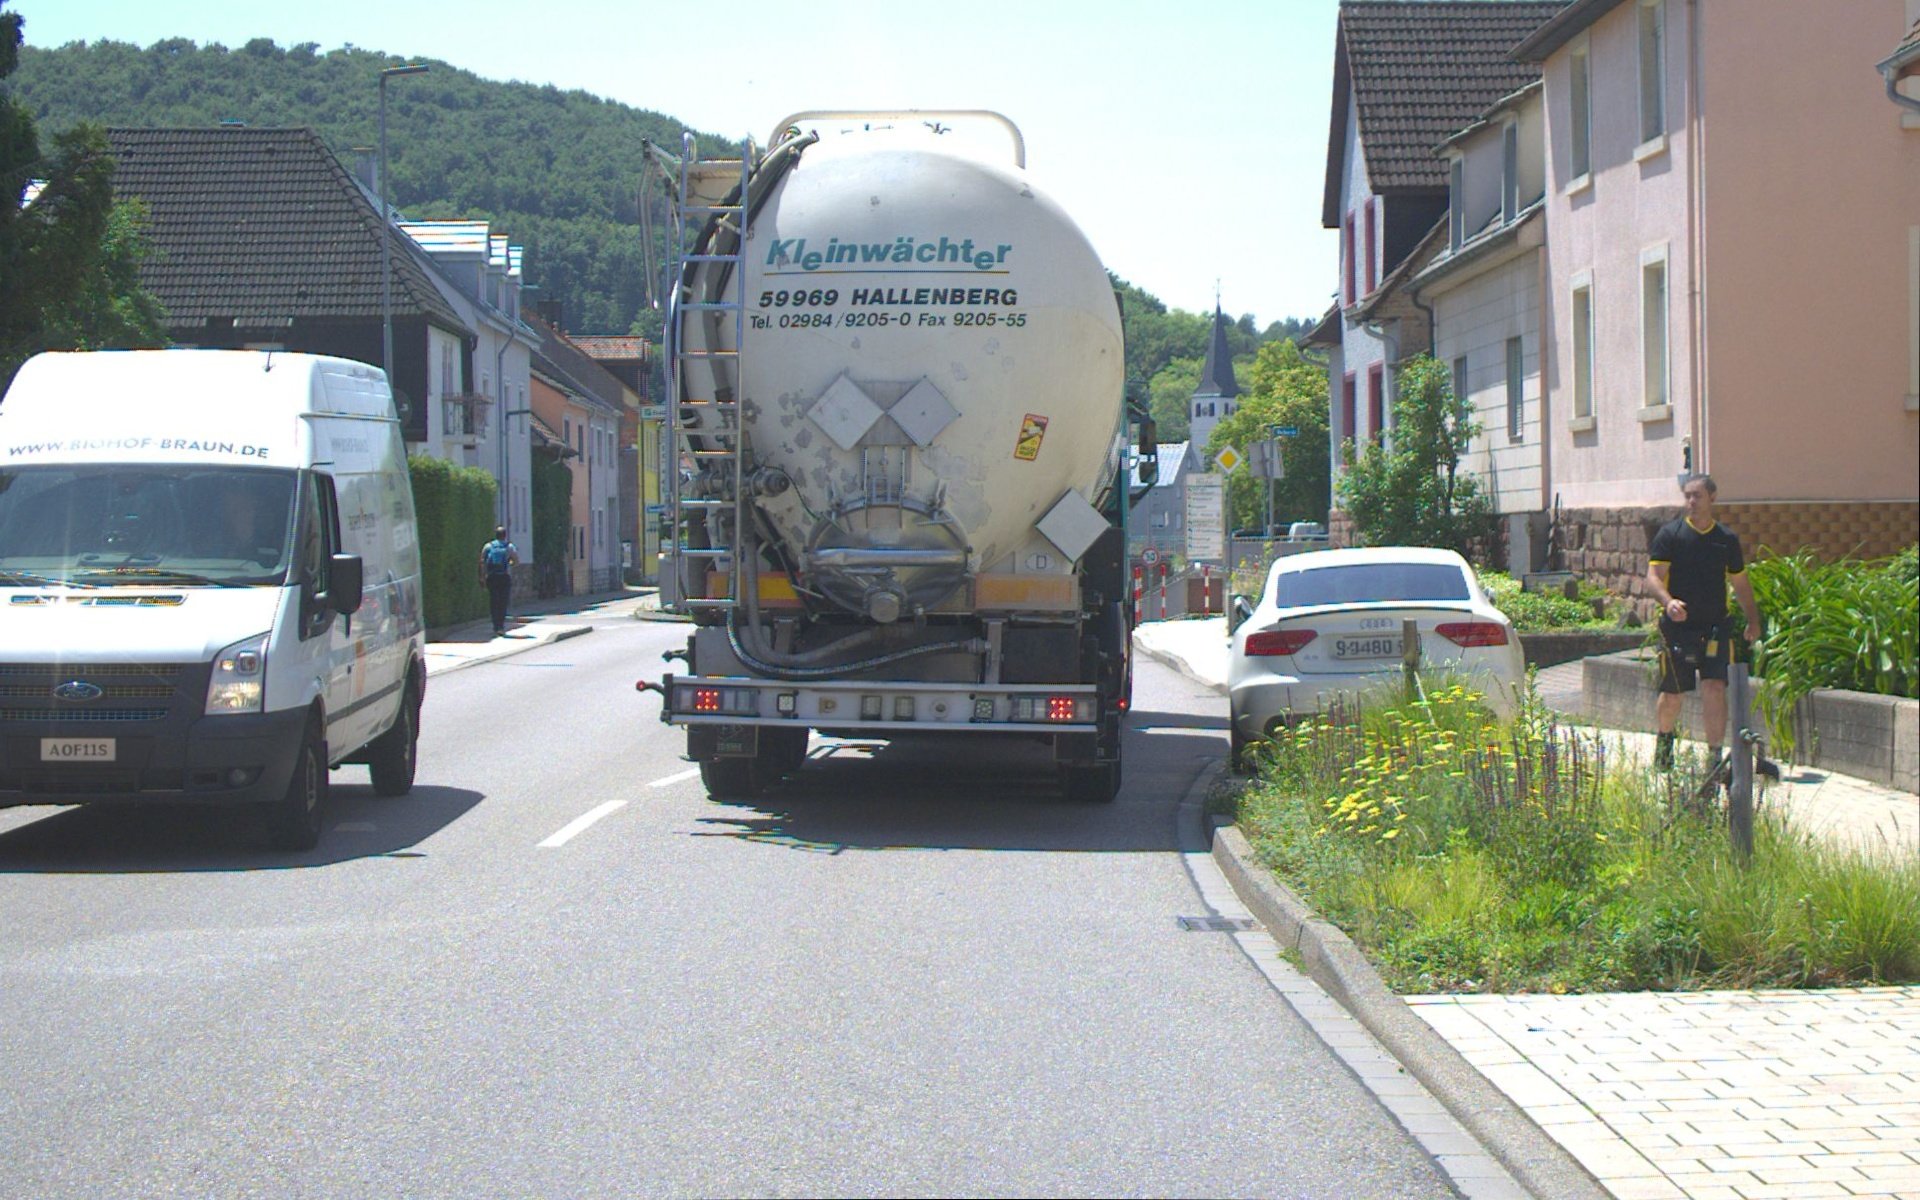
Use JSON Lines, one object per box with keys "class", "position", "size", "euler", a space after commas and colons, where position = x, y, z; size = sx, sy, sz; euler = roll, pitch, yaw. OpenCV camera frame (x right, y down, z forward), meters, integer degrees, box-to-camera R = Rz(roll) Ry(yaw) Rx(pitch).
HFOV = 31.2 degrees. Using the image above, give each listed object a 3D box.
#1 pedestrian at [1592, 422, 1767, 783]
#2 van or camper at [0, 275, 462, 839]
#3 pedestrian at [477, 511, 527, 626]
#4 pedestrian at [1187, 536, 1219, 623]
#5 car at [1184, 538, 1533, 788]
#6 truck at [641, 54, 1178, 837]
{"class": "pedestrian", "position": [4.122, 0.015, 19.767], "size": [0.746, 2.007, 1.033], "euler": [1, 0, 0]}
{"class": "van or camper", "position": [-4.206, -0.207, 19.506], "size": [2.037, 2.704, 5.824], "euler": [-1, 0, -2]}
{"class": "pedestrian", "position": [-7.398, -0.505, 55.524], "size": [0.712, 1.817, 0.898], "euler": [1, 0, -5]}
{"class": "pedestrian", "position": [4.721, -0.395, 66.949], "size": [0.571, 1.688, 0.721], "euler": [1, 0, 3]}
{"class": "car", "position": [2.509, 0.389, 22.674], "size": [1.756, 1.413, 4.632], "euler": [-2, 0, 1]}
{"class": "truck", "position": [-0.422, -0.890, 23.342], "size": [2.750, 4.043, 10.890], "euler": [1, 1, -2]}
